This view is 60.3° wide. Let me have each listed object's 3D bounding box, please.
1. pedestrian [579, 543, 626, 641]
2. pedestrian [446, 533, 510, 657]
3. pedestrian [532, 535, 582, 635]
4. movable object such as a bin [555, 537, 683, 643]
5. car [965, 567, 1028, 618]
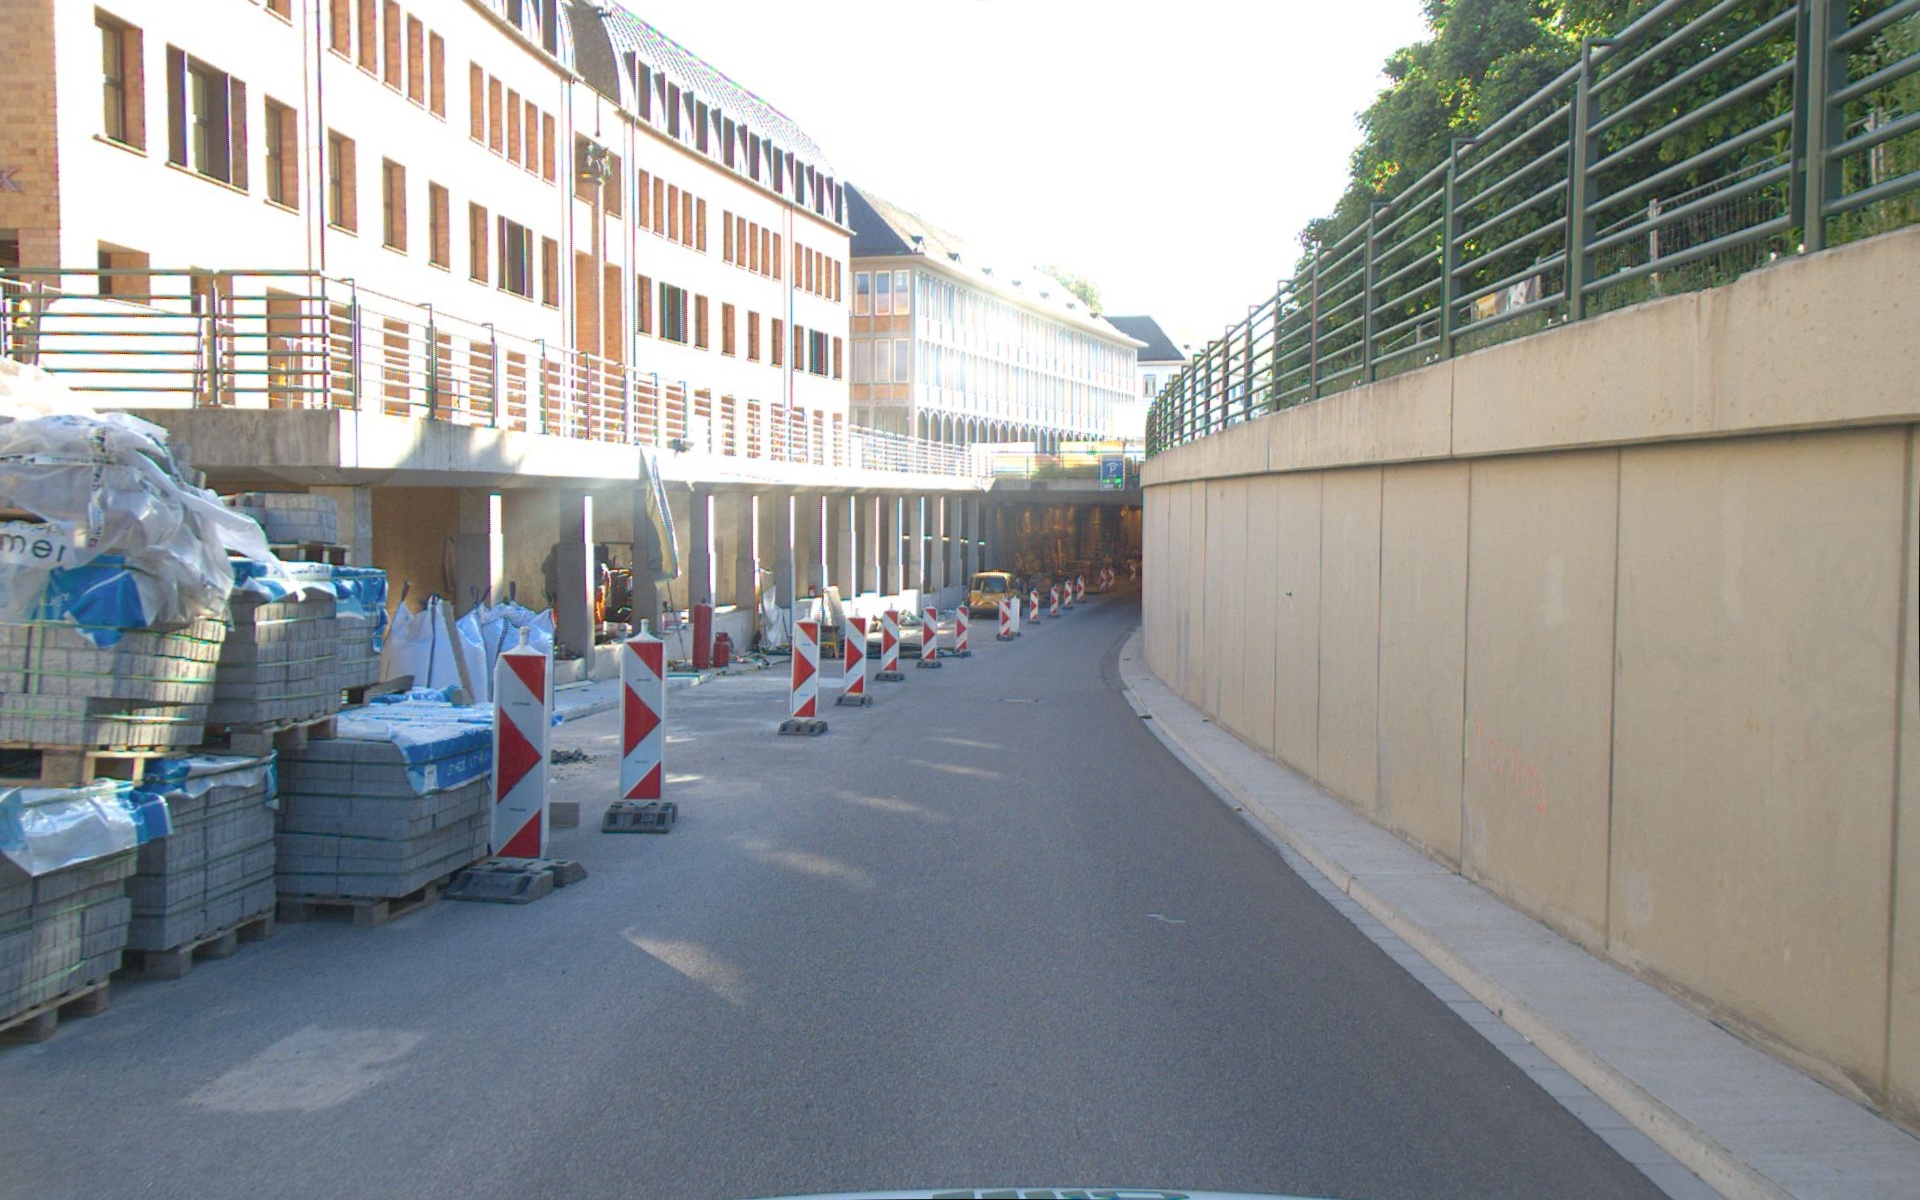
[{"bbox_3d":[-6.896,-0.158,31.919,0.643,1.836,0.625,2,0,12],"label":"pedestrian"},{"bbox_3d":[-7.958,-0.082,27.345,0.663,1.991,0.937,2,0,4],"label":"pedestrian"},{"bbox_3d":[-7.623,-0.279,31.293,0.689,1.846,0.710,2,0,2],"label":"pedestrian"},{"bbox_3d":[-6.950,-0.226,33.995,1.846,2.021,3.160,1,1,2],"label":"movable object such as a bin"},{"bbox_3d":[1.478,-0.324,65.625,1.808,1.806,4.439,2,3,10],"label":"car"}]
